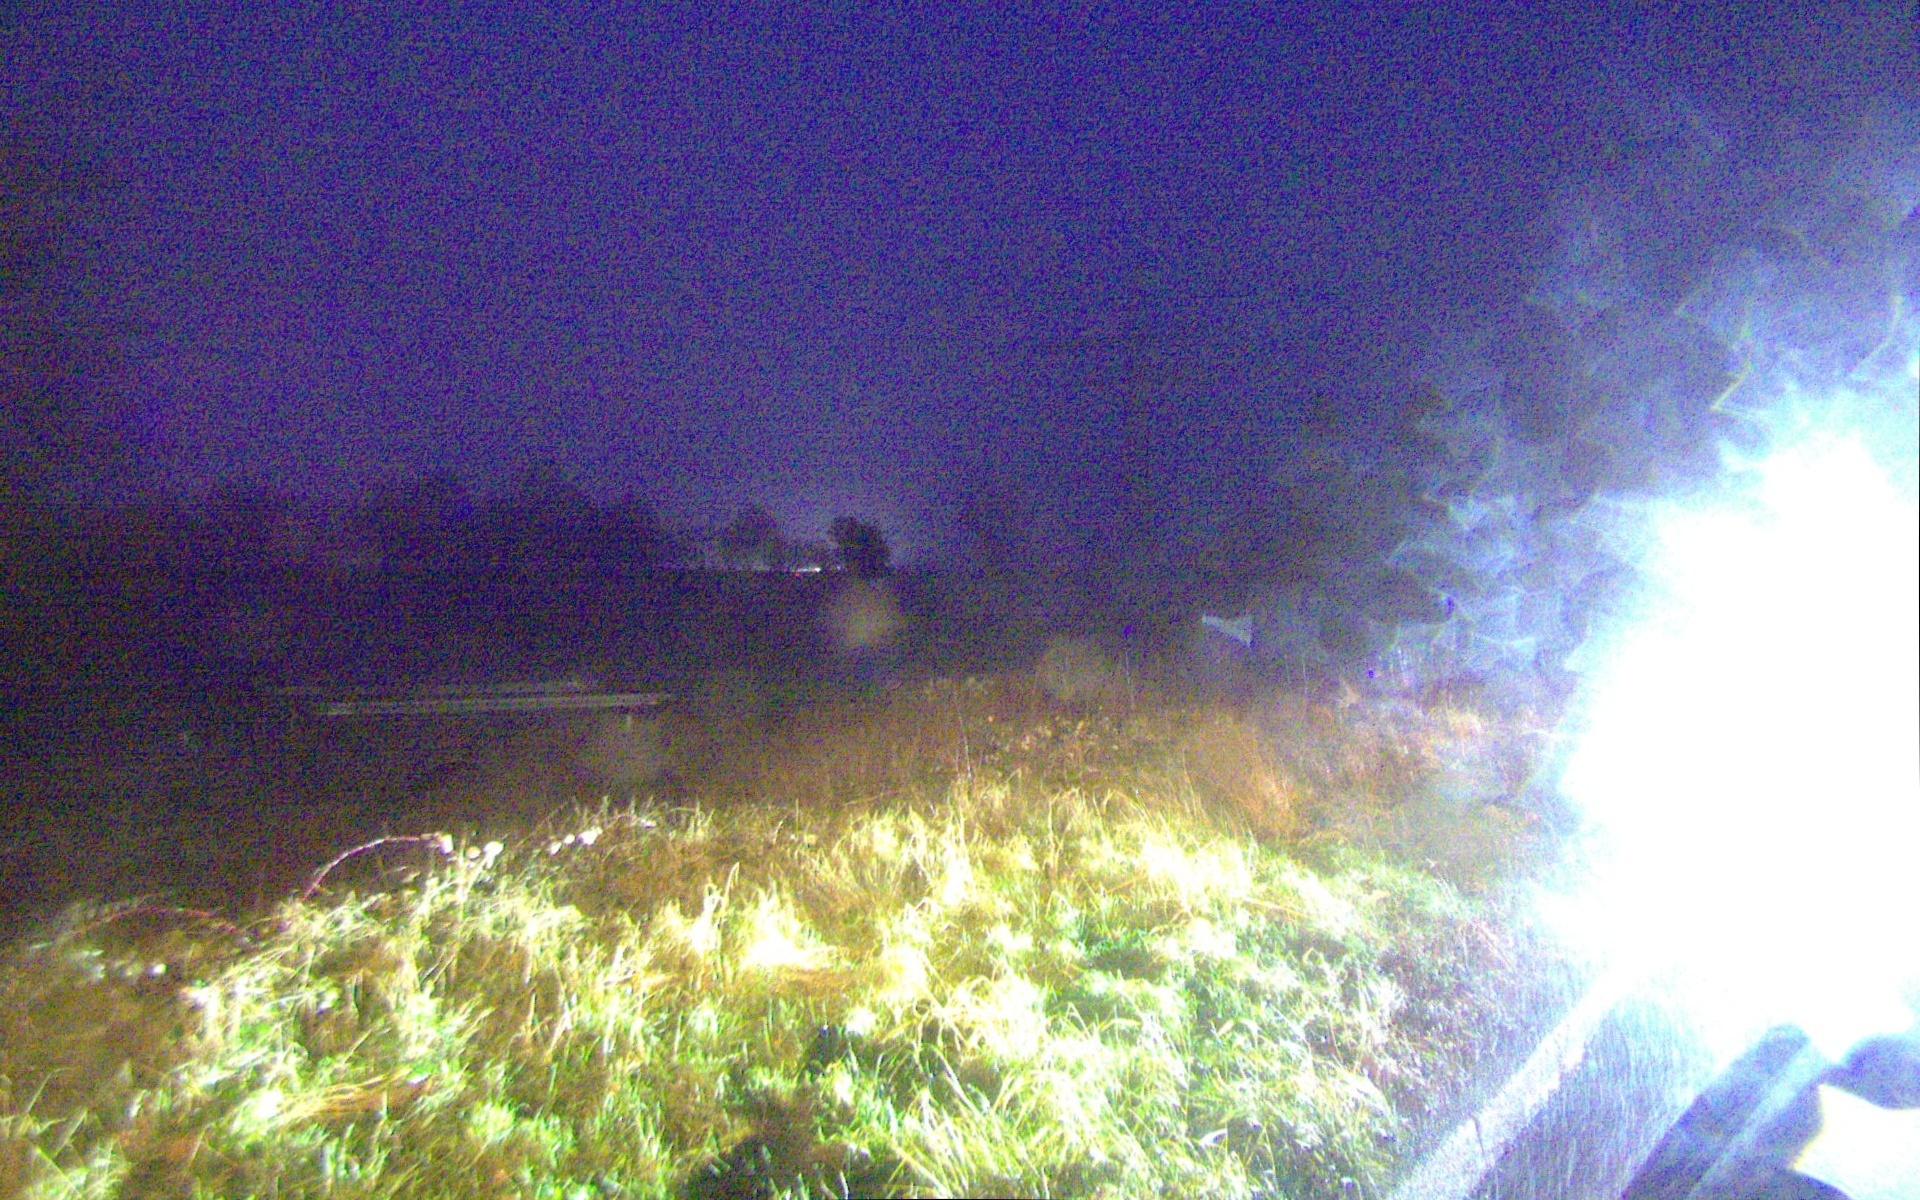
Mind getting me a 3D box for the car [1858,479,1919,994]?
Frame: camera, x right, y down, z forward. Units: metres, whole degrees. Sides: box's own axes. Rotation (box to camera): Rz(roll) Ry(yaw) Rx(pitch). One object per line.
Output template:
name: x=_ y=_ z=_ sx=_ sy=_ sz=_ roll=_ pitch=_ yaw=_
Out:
car: x=5.728 y=0.498 z=4.735 sx=4.298 sy=1.949 sz=1.999 roll=-1 pitch=1 yaw=-44
